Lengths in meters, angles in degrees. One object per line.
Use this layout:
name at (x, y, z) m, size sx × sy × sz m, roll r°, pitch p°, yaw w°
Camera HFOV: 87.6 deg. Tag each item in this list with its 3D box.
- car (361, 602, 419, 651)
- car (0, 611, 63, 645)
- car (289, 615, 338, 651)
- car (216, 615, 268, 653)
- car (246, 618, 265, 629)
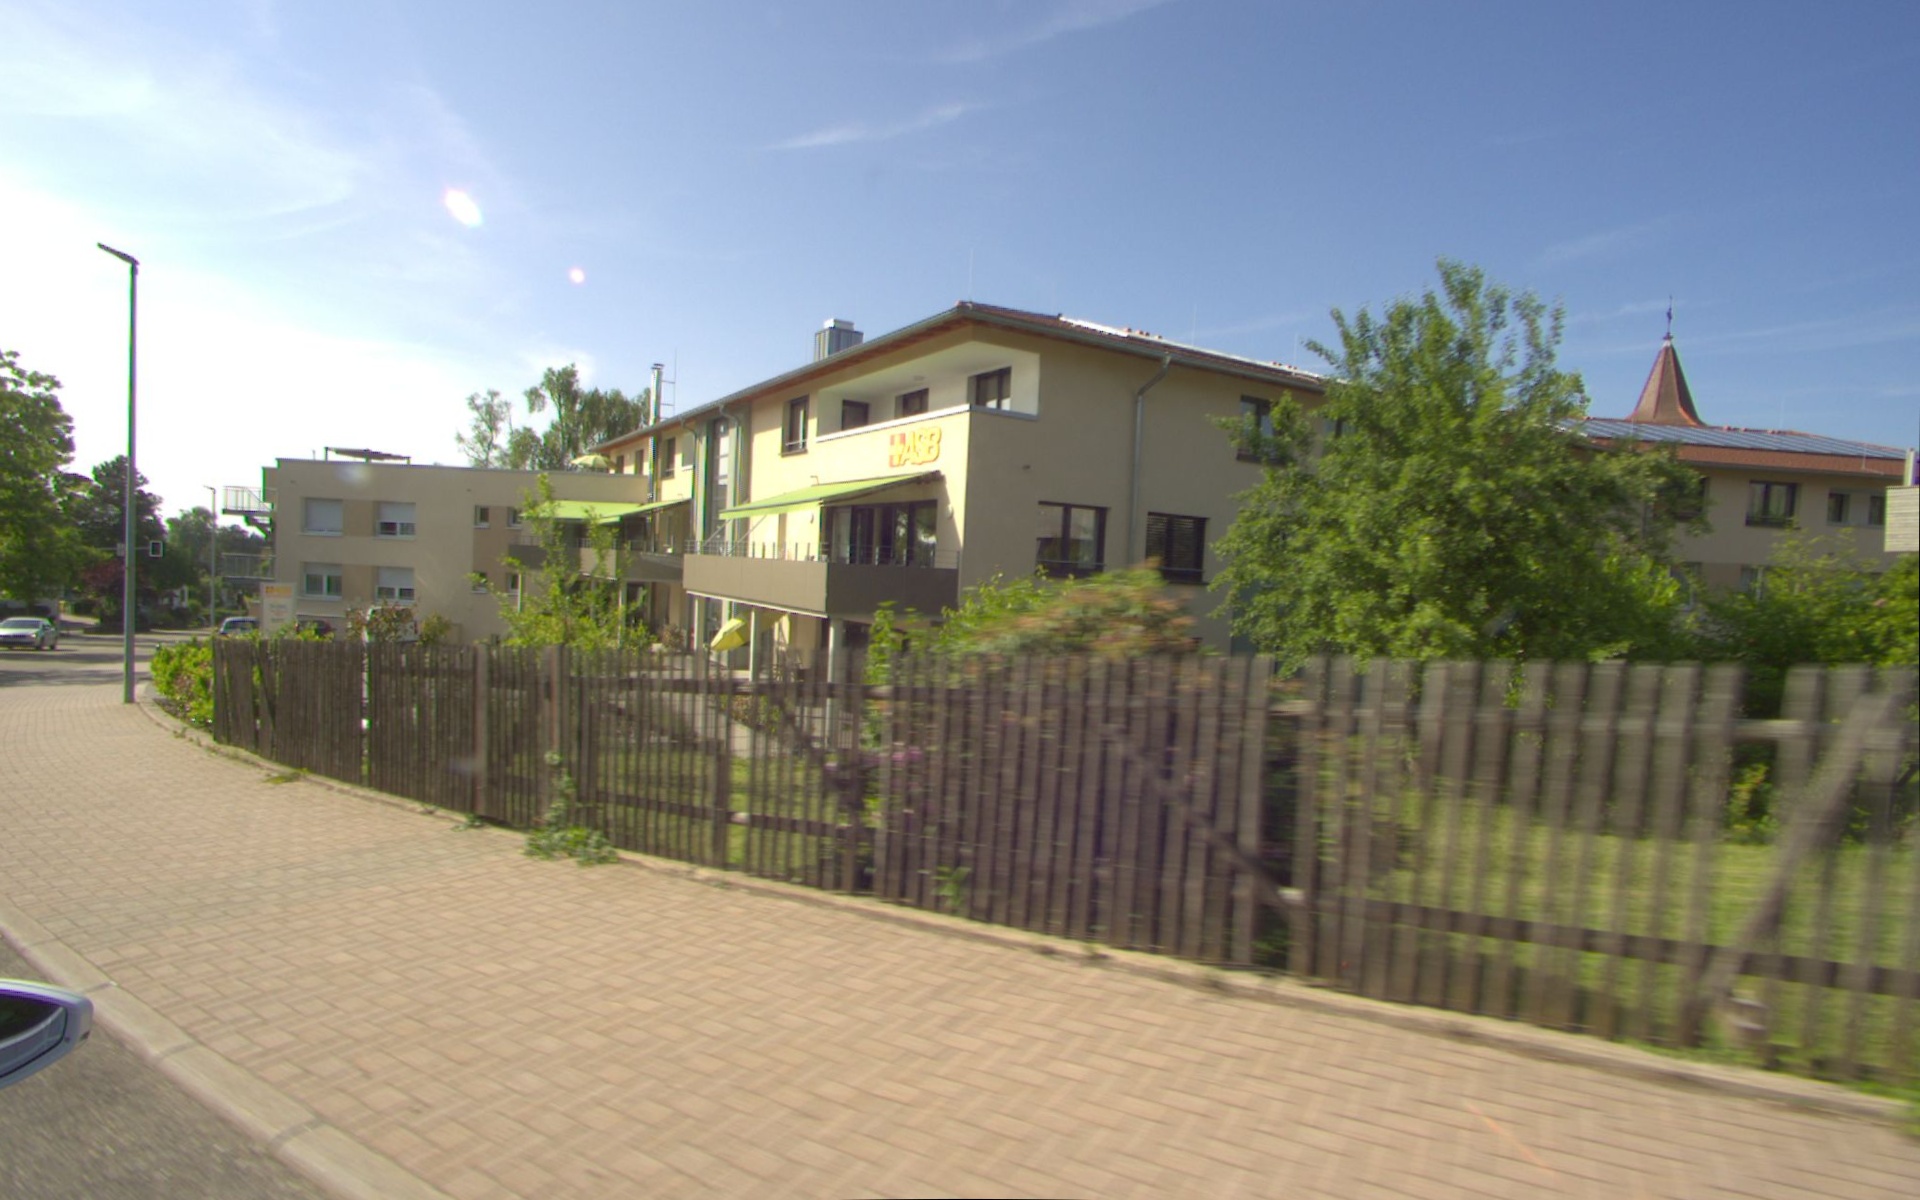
car at (-24.175, 1.110, 42.406) m, size 1.786 × 1.960 × 4.704 m, roll 2°, pitch -1°, yaw -34°
car at (-43.081, 1.294, 46.372) m, size 1.713 × 1.461 × 4.038 m, roll 3°, pitch -2°, yaw -34°
car at (-28.128, 1.413, 43.534) m, size 1.692 × 1.446 × 3.981 m, roll 2°, pitch -1°, yaw -34°
car at (-30.804, 1.440, 43.059) m, size 1.692 × 1.555 × 3.981 m, roll 2°, pitch -1°, yaw -34°
car at (-96.046, 3.195, 136.558) m, size 1.690 × 1.446 × 3.986 m, roll 2°, pitch -1°, yaw -30°
